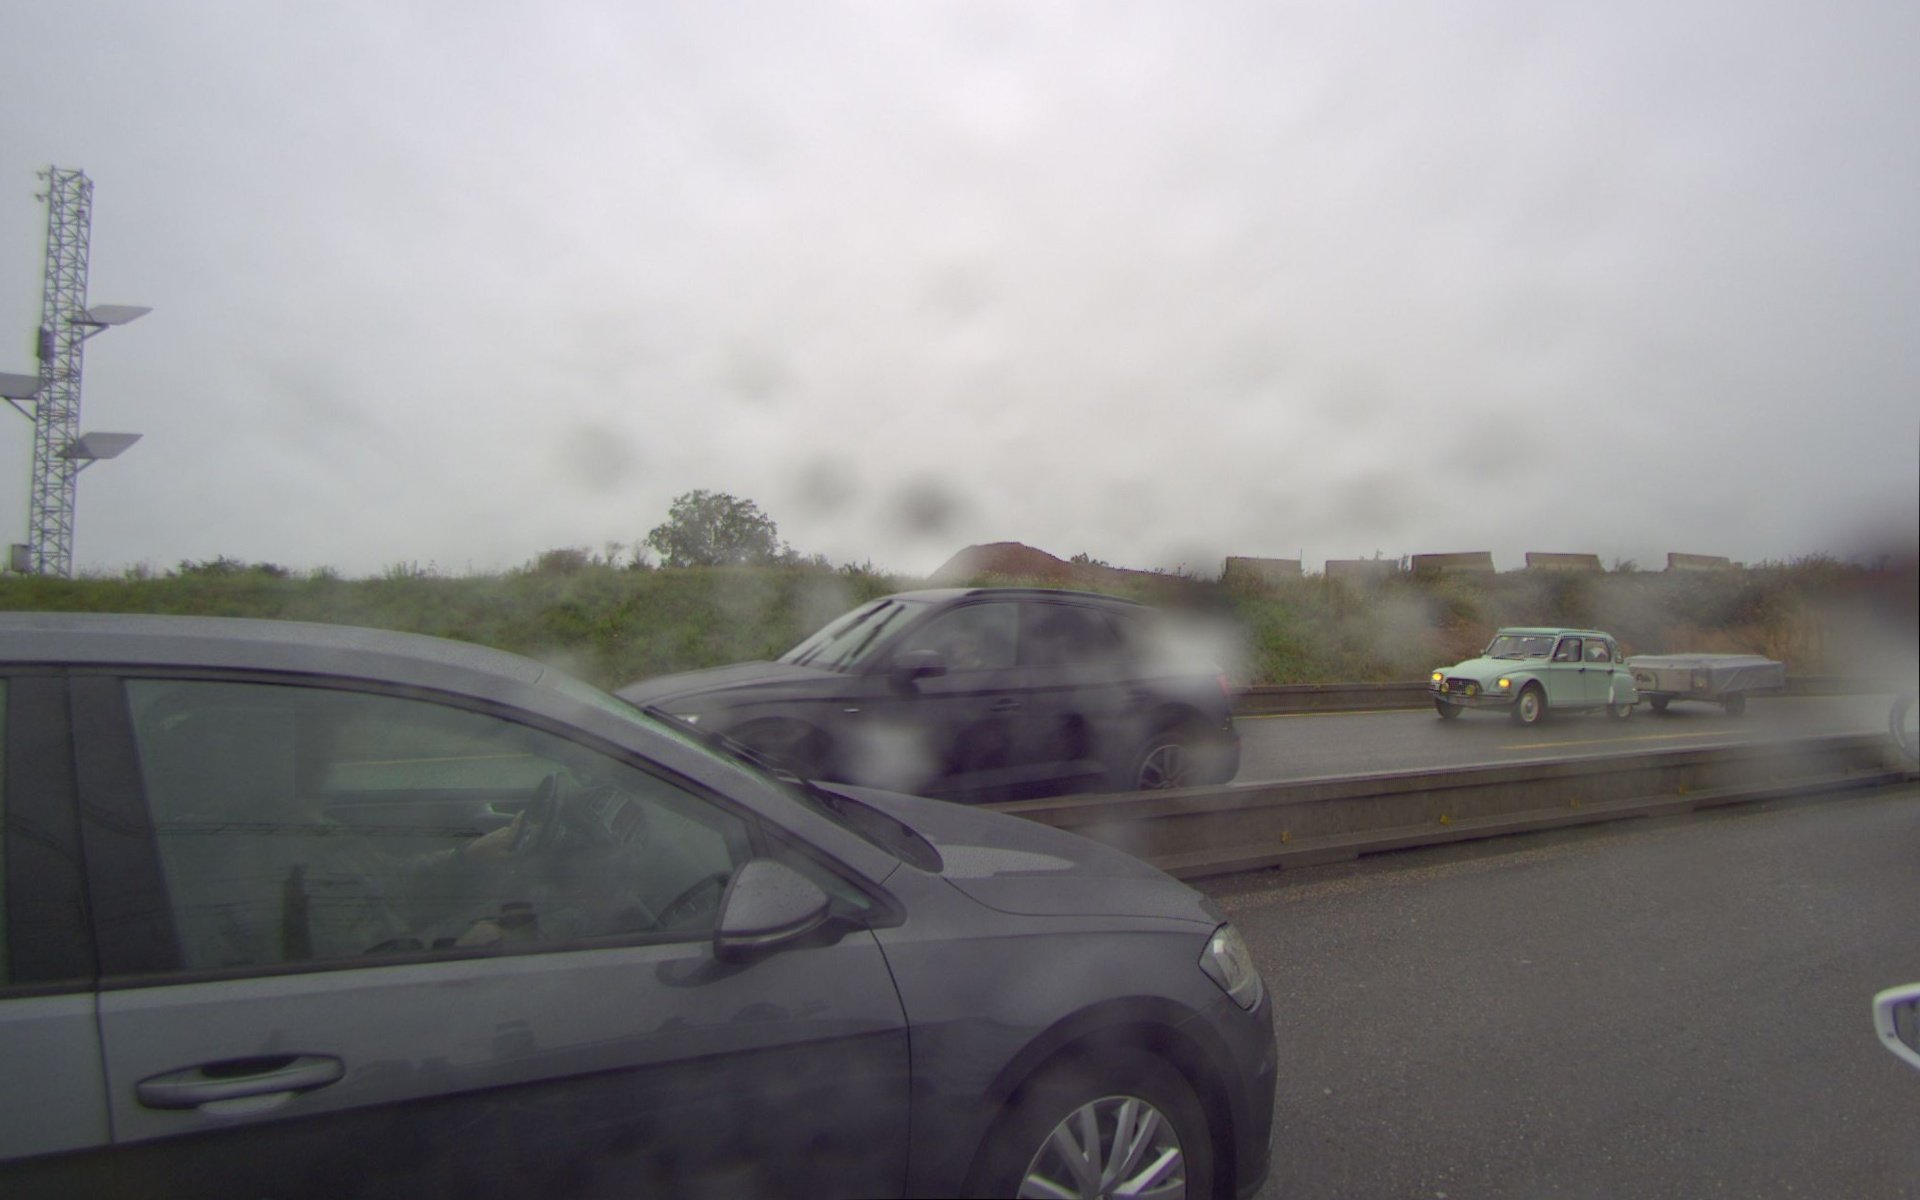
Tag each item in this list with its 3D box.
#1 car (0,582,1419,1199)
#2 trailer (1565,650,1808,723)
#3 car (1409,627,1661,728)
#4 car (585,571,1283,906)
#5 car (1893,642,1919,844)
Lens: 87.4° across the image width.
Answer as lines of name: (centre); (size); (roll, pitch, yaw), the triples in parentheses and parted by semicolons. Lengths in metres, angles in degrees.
car: (-1.046, 0.724, 2.114); (4.033, 1.441, 1.642); (2, -1, -30)
trailer: (12.945, 1.470, 17.834); (4.653, 1.103, 1.574); (2, -1, -27)
car: (9.097, 1.164, 15.839); (3.949, 1.401, 1.574); (1, -1, -27)
car: (-0.084, 0.719, 6.850); (4.429, 1.661, 1.814); (1, 0, -29)
car: (9.892, 1.059, 8.168); (5.559, 1.482, 1.727); (0, 0, -29)
